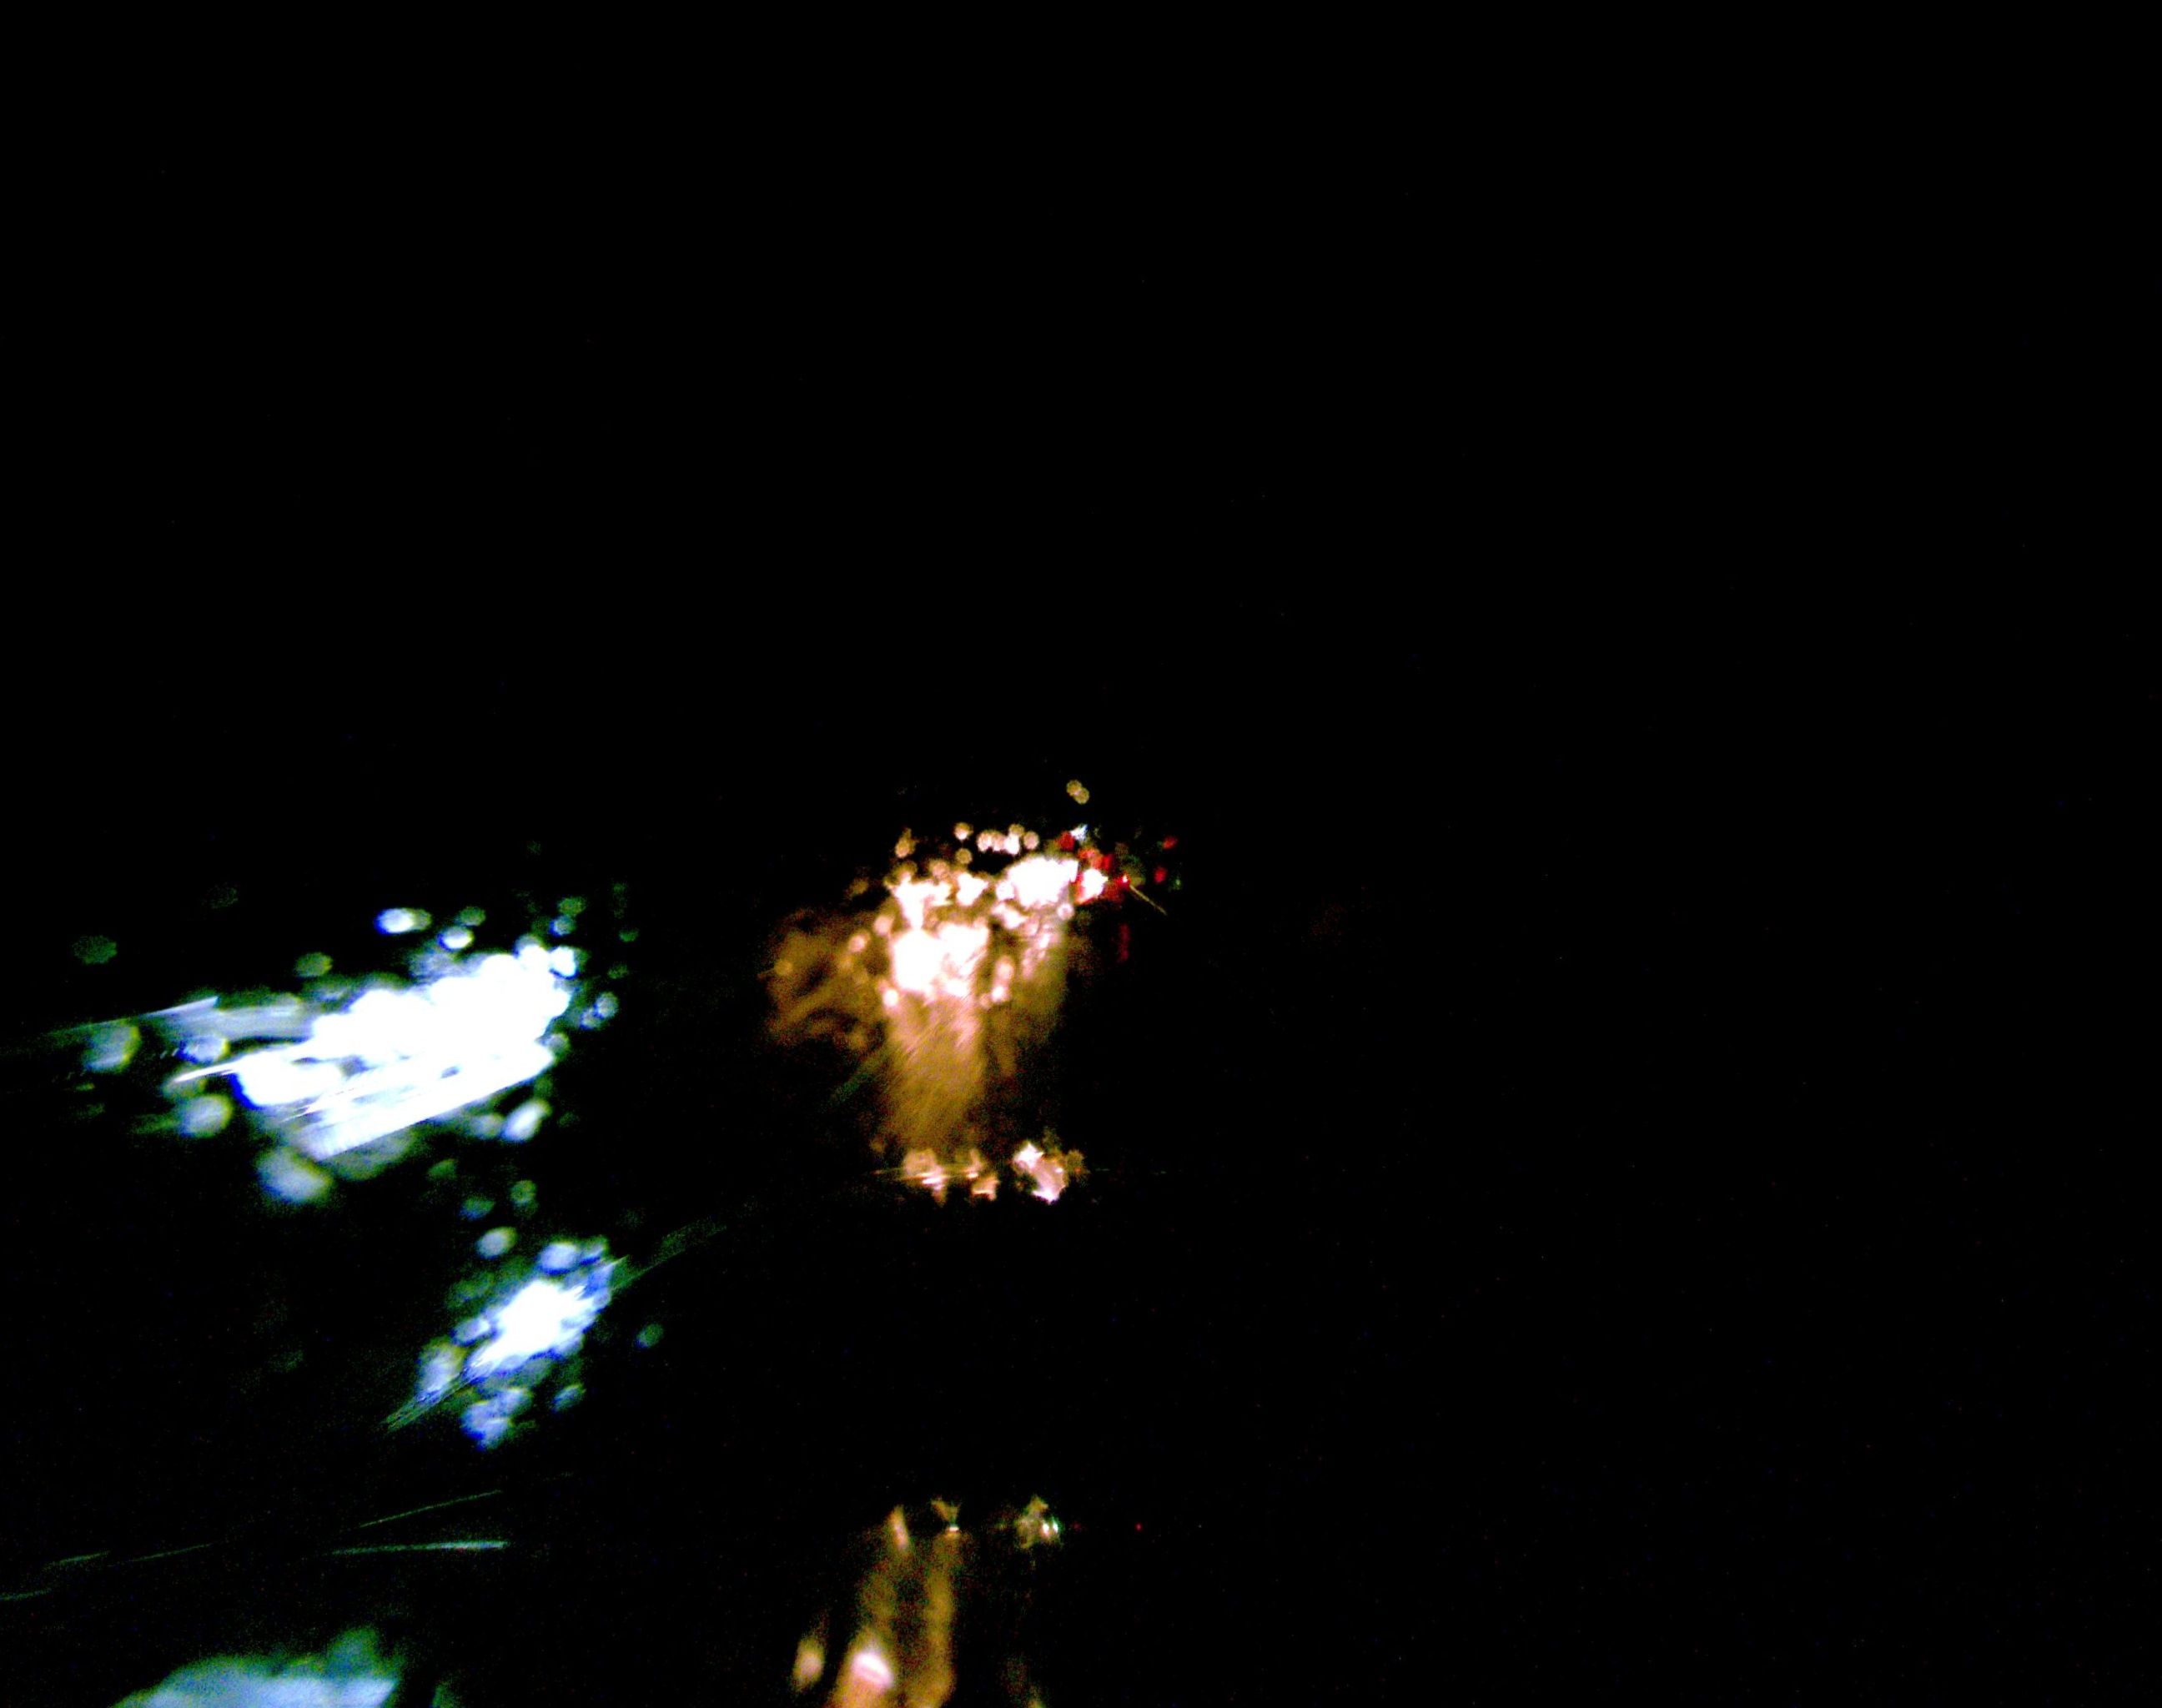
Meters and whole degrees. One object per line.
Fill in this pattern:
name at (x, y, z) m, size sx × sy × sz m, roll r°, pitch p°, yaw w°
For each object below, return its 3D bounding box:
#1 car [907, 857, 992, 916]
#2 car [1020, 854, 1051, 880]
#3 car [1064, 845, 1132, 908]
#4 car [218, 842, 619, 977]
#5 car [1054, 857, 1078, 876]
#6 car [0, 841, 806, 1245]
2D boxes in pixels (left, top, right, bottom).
car at (-3.418, 0.813, 21.726) m, size 1.593 × 1.424 × 3.553 m, roll -1°, pitch 0°, yaw 1°
car at (-2.789, 0.766, 50.808) m, size 1.657 × 1.560 × 3.561 m, roll -1°, pitch 0°, yaw 1°
car at (0.563, 0.676, 25.771) m, size 1.986 × 1.807 × 3.919 m, roll -1°, pitch 0°, yaw 2°
car at (-10.581, 0.846, 13.275) m, size 4.915 × 1.838 × 1.935 m, roll -2°, pitch 0°, yaw 1°
car at (-1.226, 1.018, 68.696) m, size 1.749 × 1.405 × 4.489 m, roll 2°, pitch 1°, yaw 2°
car at (-3.426, 0.761, 5.337) m, size 1.797 × 1.572 × 4.190 m, roll -1°, pitch 0°, yaw 0°
